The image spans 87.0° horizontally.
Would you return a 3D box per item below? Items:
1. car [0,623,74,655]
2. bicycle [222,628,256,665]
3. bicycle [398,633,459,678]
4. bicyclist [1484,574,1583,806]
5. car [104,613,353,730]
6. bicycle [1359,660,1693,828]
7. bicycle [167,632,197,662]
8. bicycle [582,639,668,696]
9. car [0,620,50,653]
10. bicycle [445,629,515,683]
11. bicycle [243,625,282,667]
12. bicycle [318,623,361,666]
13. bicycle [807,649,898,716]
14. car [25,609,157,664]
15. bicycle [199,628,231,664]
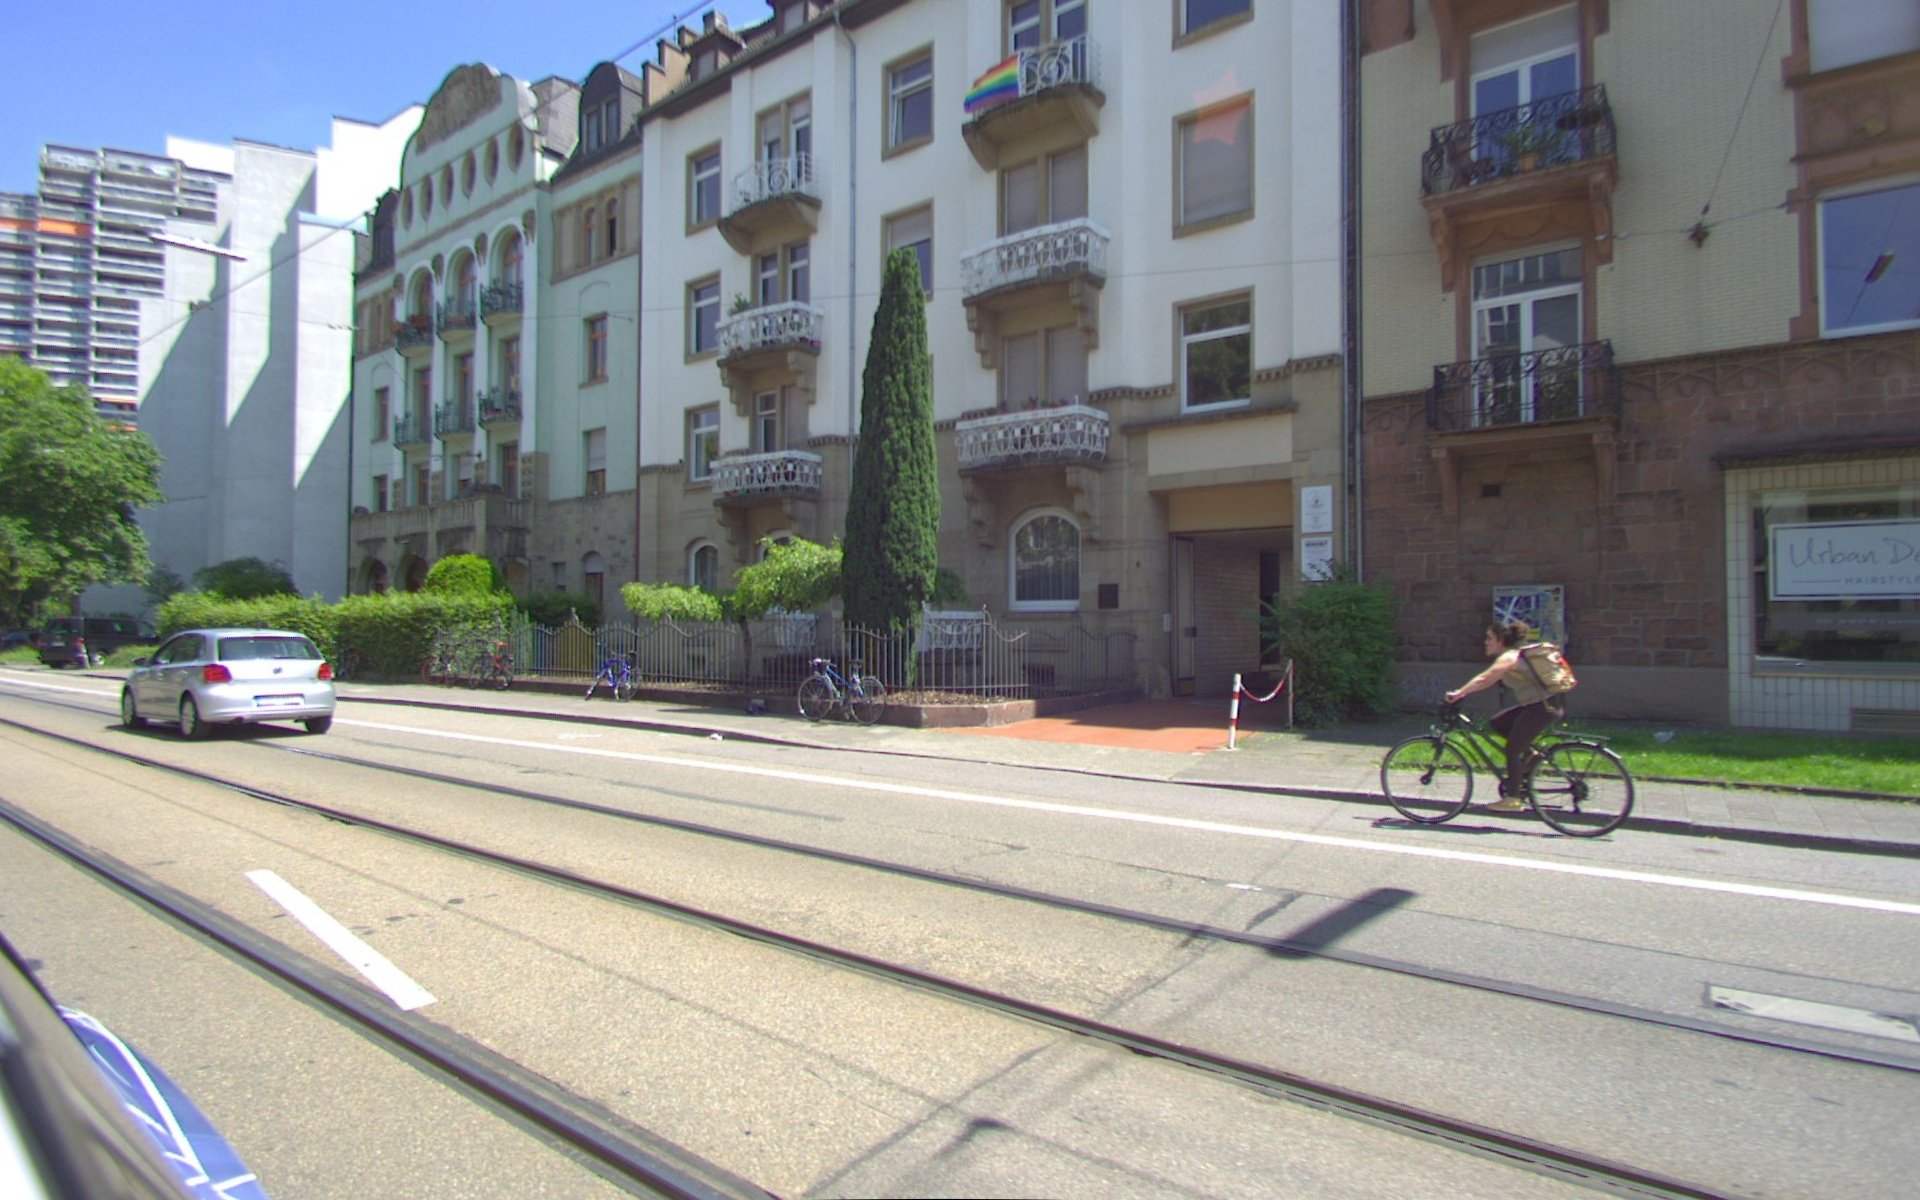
[{"bbox_3d":[-44.049,1.837,48.037,1.468,1.410,3.288,0,0,-10],"label":"car"},{"bbox_3d":[-21.821,1.387,30.623,1.725,1.076,0.336,0,-1,37],"label":"bicycle"},{"bbox_3d":[-12.180,1.260,23.164,2.043,0.978,0.395,-1,-1,37],"label":"bicycle"},{"bbox_3d":[4.396,0.658,7.753,0.578,1.676,0.604,-1,-2,36],"label":"bicyclist"},{"bbox_3d":[-10.400,0.935,14.320,3.817,1.423,1.693,0,-3,36],"label":"car"},{"bbox_3d":[4.307,1.037,7.822,2.182,1.082,0.638,-1,-2,37],"label":"bicycle"},{"bbox_3d":[-26.066,1.566,33.887,1.725,0.948,0.336,-1,0,37],"label":"bicycle"},{"bbox_3d":[-6.102,1.200,18.369,1.951,0.955,0.457,-1,-1,37],"label":"bicycle"},{"bbox_3d":[-46.686,1.758,49.521,1.613,1.561,3.818,0,-1,-14],"label":"car"},{"bbox_3d":[-10.341,1.188,21.771,2.043,1.105,0.487,-1,-1,37],"label":"bicycle"},{"bbox_3d":[-20.240,1.318,29.361,1.929,1.173,0.336,0,-1,37],"label":"bicycle"},{"bbox_3d":[-16.244,1.153,26.459,1.896,1.054,0.286,0,-1,37],"label":"bicycle"},{"bbox_3d":[-1.620,1.206,15.073,1.611,0.924,0.250,-1,-1,37],"label":"bicycle"},{"bbox_3d":[-33.564,1.363,39.240,1.885,1.984,3.910,0,0,-3],"label":"car"},{"bbox_3d":[-23.444,1.429,31.845,1.725,1.076,0.336,0,-1,37],"label":"bicycle"}]
